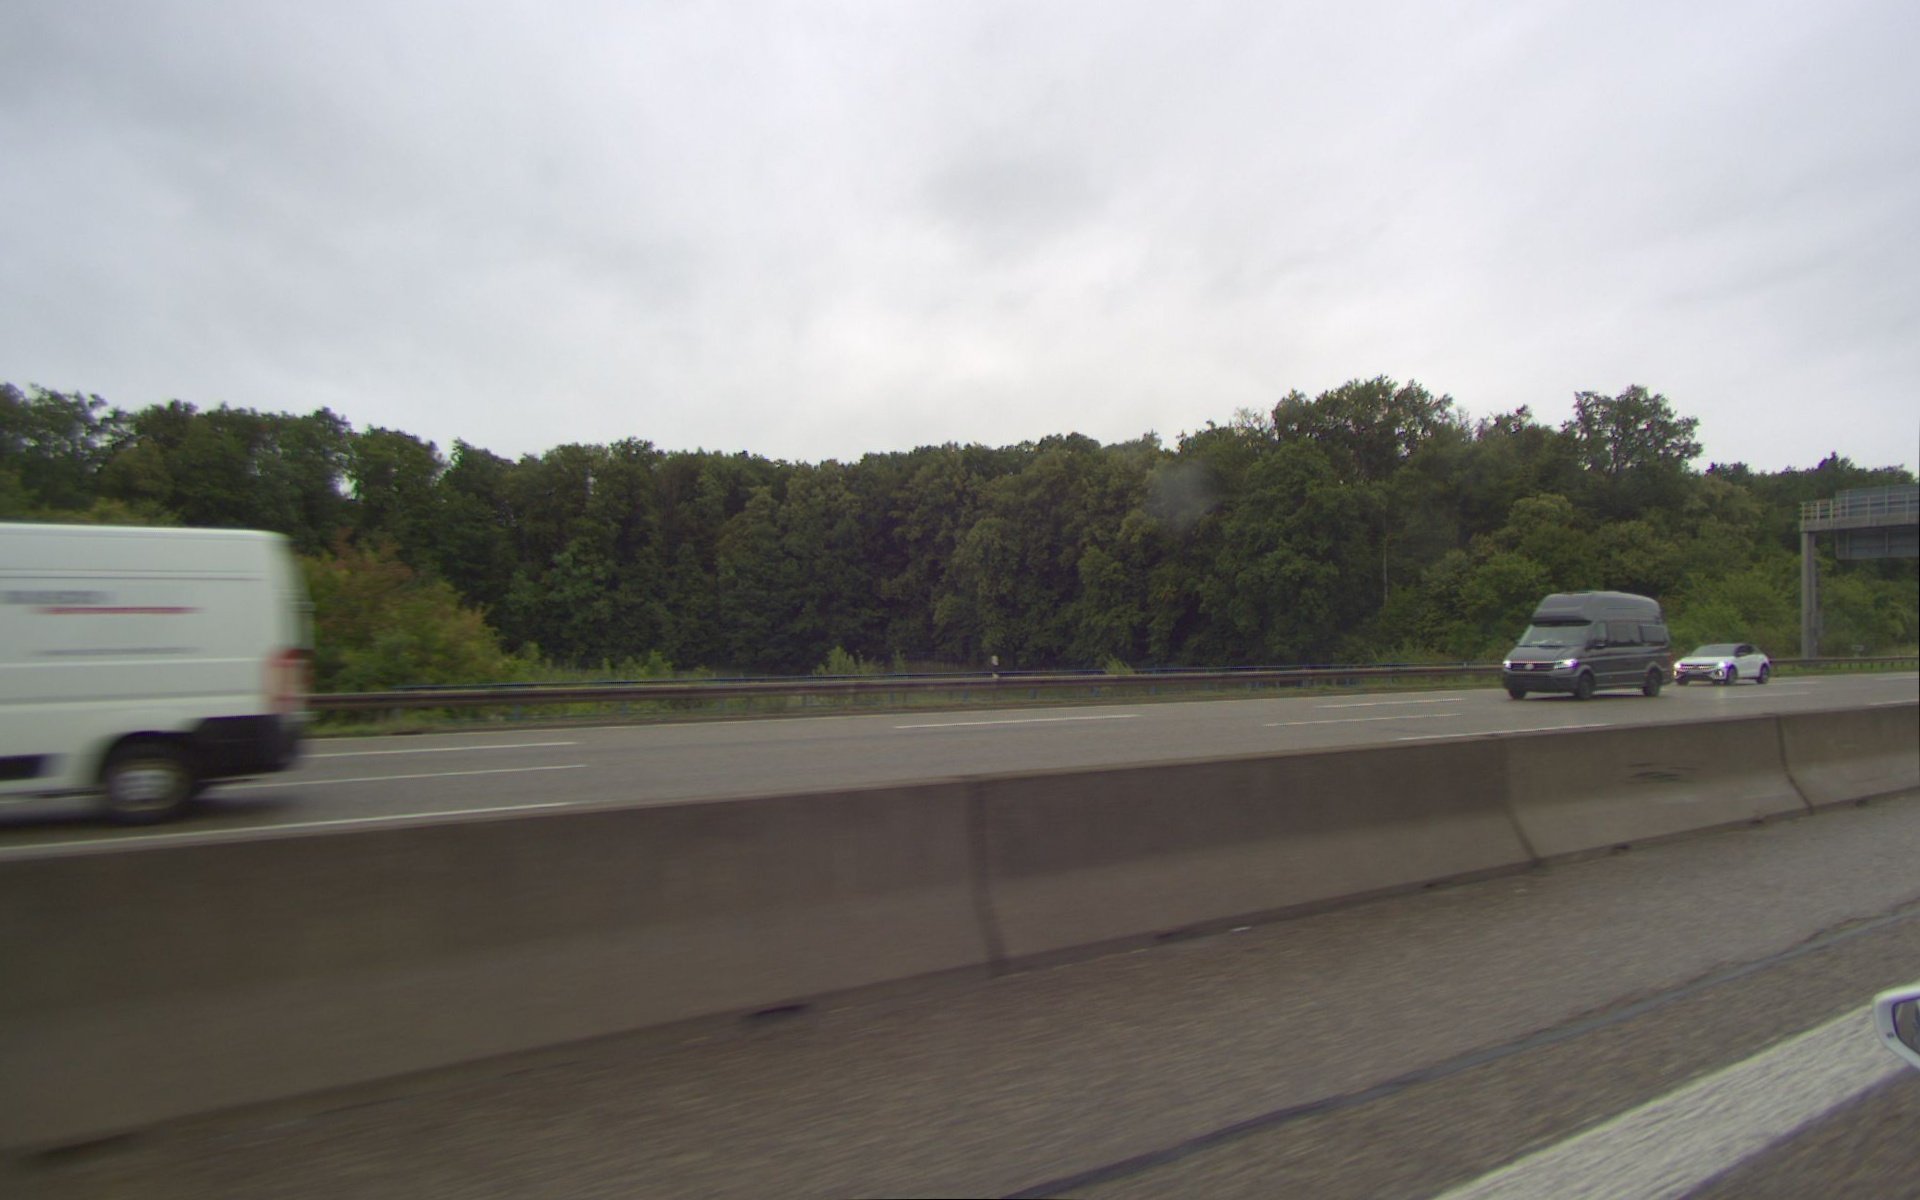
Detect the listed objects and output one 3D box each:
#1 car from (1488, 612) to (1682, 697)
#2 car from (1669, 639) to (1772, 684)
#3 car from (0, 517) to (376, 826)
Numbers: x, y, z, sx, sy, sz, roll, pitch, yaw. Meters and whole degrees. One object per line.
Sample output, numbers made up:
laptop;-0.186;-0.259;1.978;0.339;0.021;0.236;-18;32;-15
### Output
car;17.825;1.505;28.541;6.342;2.196;1.984;1;-2;-31
car;28.900;2.307;38.149;4.097;1.606;1.707;1;-2;-31
car;-8.416;0.561;8.340;6.105;2.362;2.265;1;-2;-32
